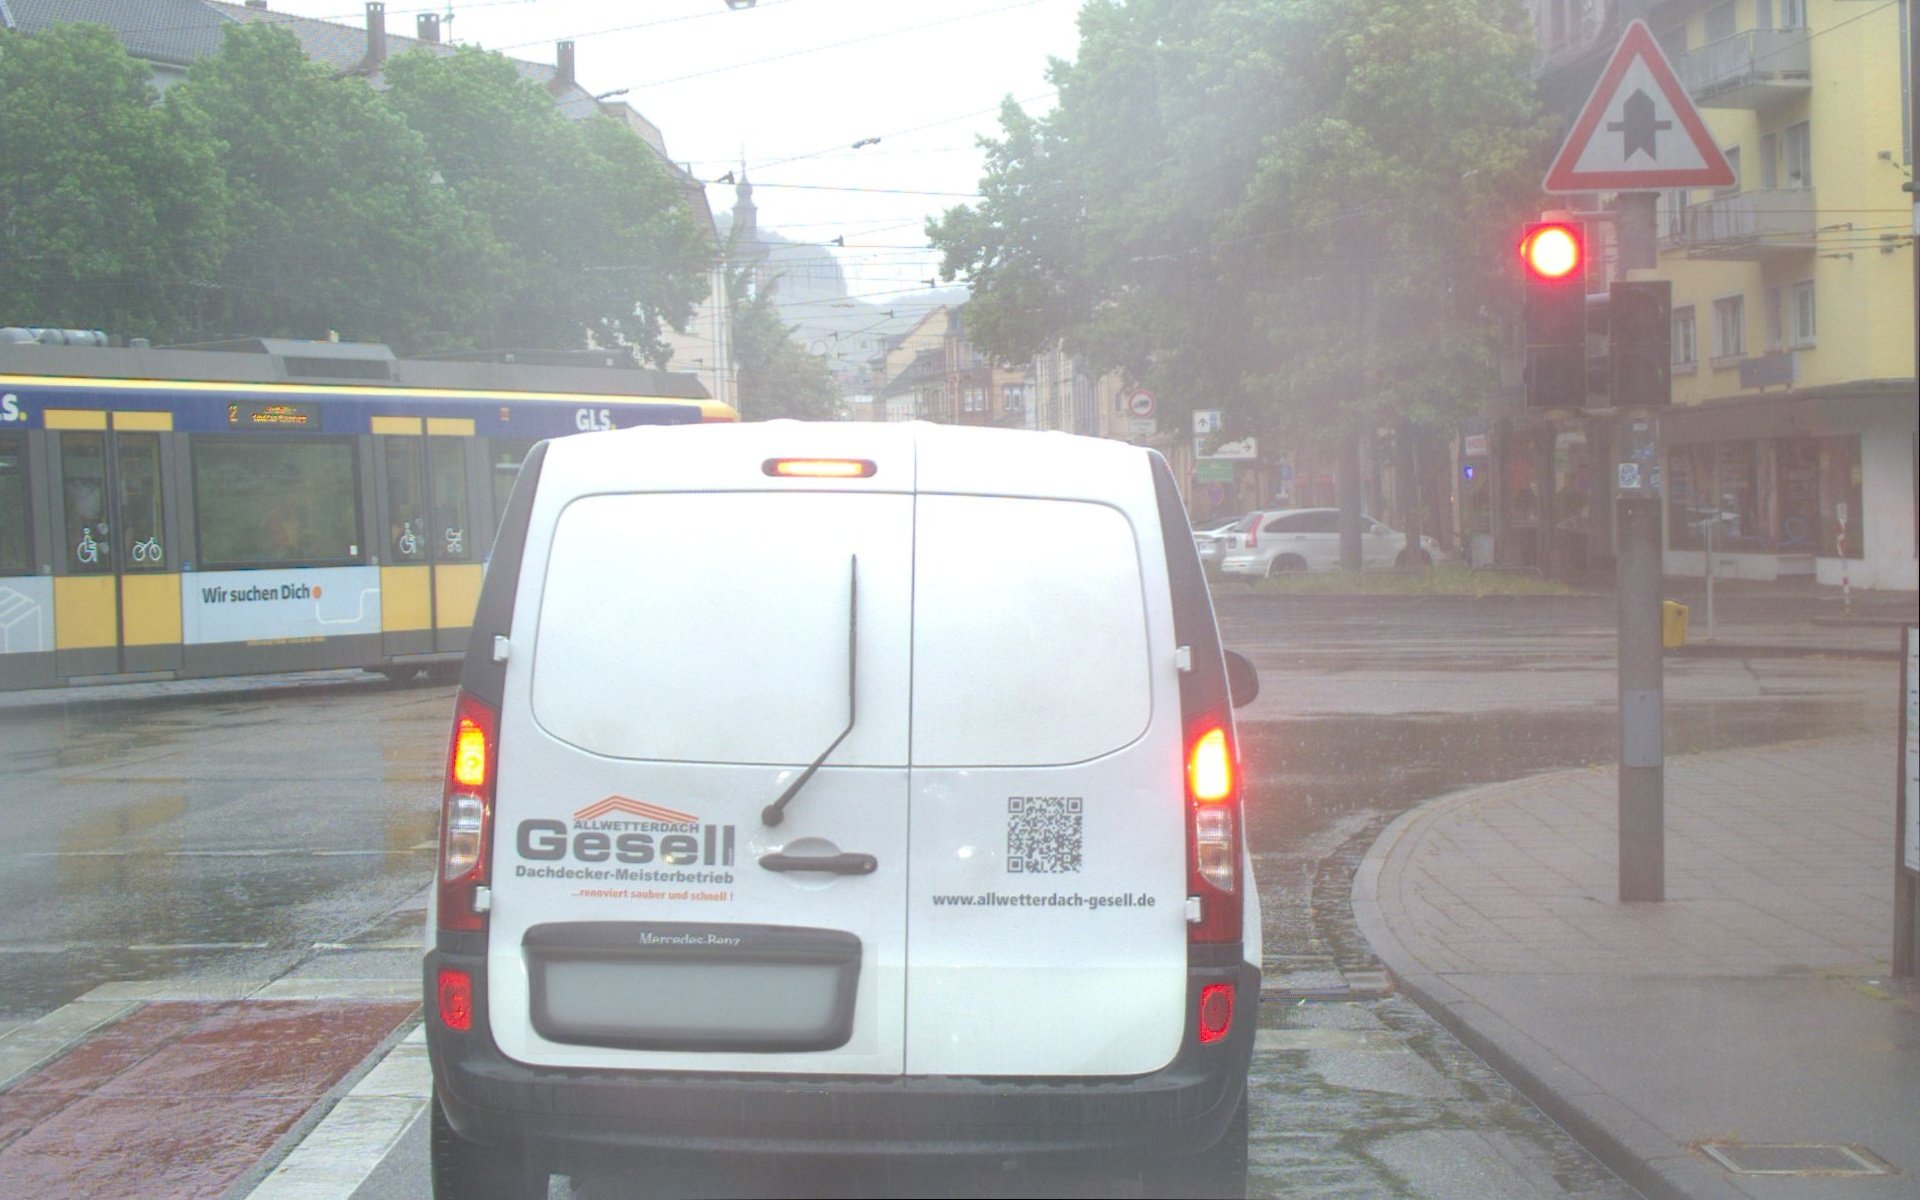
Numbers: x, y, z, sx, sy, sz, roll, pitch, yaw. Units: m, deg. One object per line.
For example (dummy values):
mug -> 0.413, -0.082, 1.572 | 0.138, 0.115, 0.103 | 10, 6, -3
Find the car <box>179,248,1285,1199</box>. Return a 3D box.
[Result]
car -> -0.460, 0.311, 9.050 | 2.100, 2.005, 4.963 | 0, 1, -1

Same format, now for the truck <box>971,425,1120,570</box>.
truck -> 3.036, -3.709, 128.449 | 3.469, 5.070, 15.310 | 0, 1, -6

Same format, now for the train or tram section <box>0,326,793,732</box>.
train or tram section -> -7.361, -0.657, 33.513 | 3.547, 3.401, 15.478 | 2, 1, 30

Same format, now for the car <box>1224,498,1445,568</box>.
car -> 7.491, -1.346, 68.910 | 4.165, 1.334, 1.521 | -1, 2, -7
